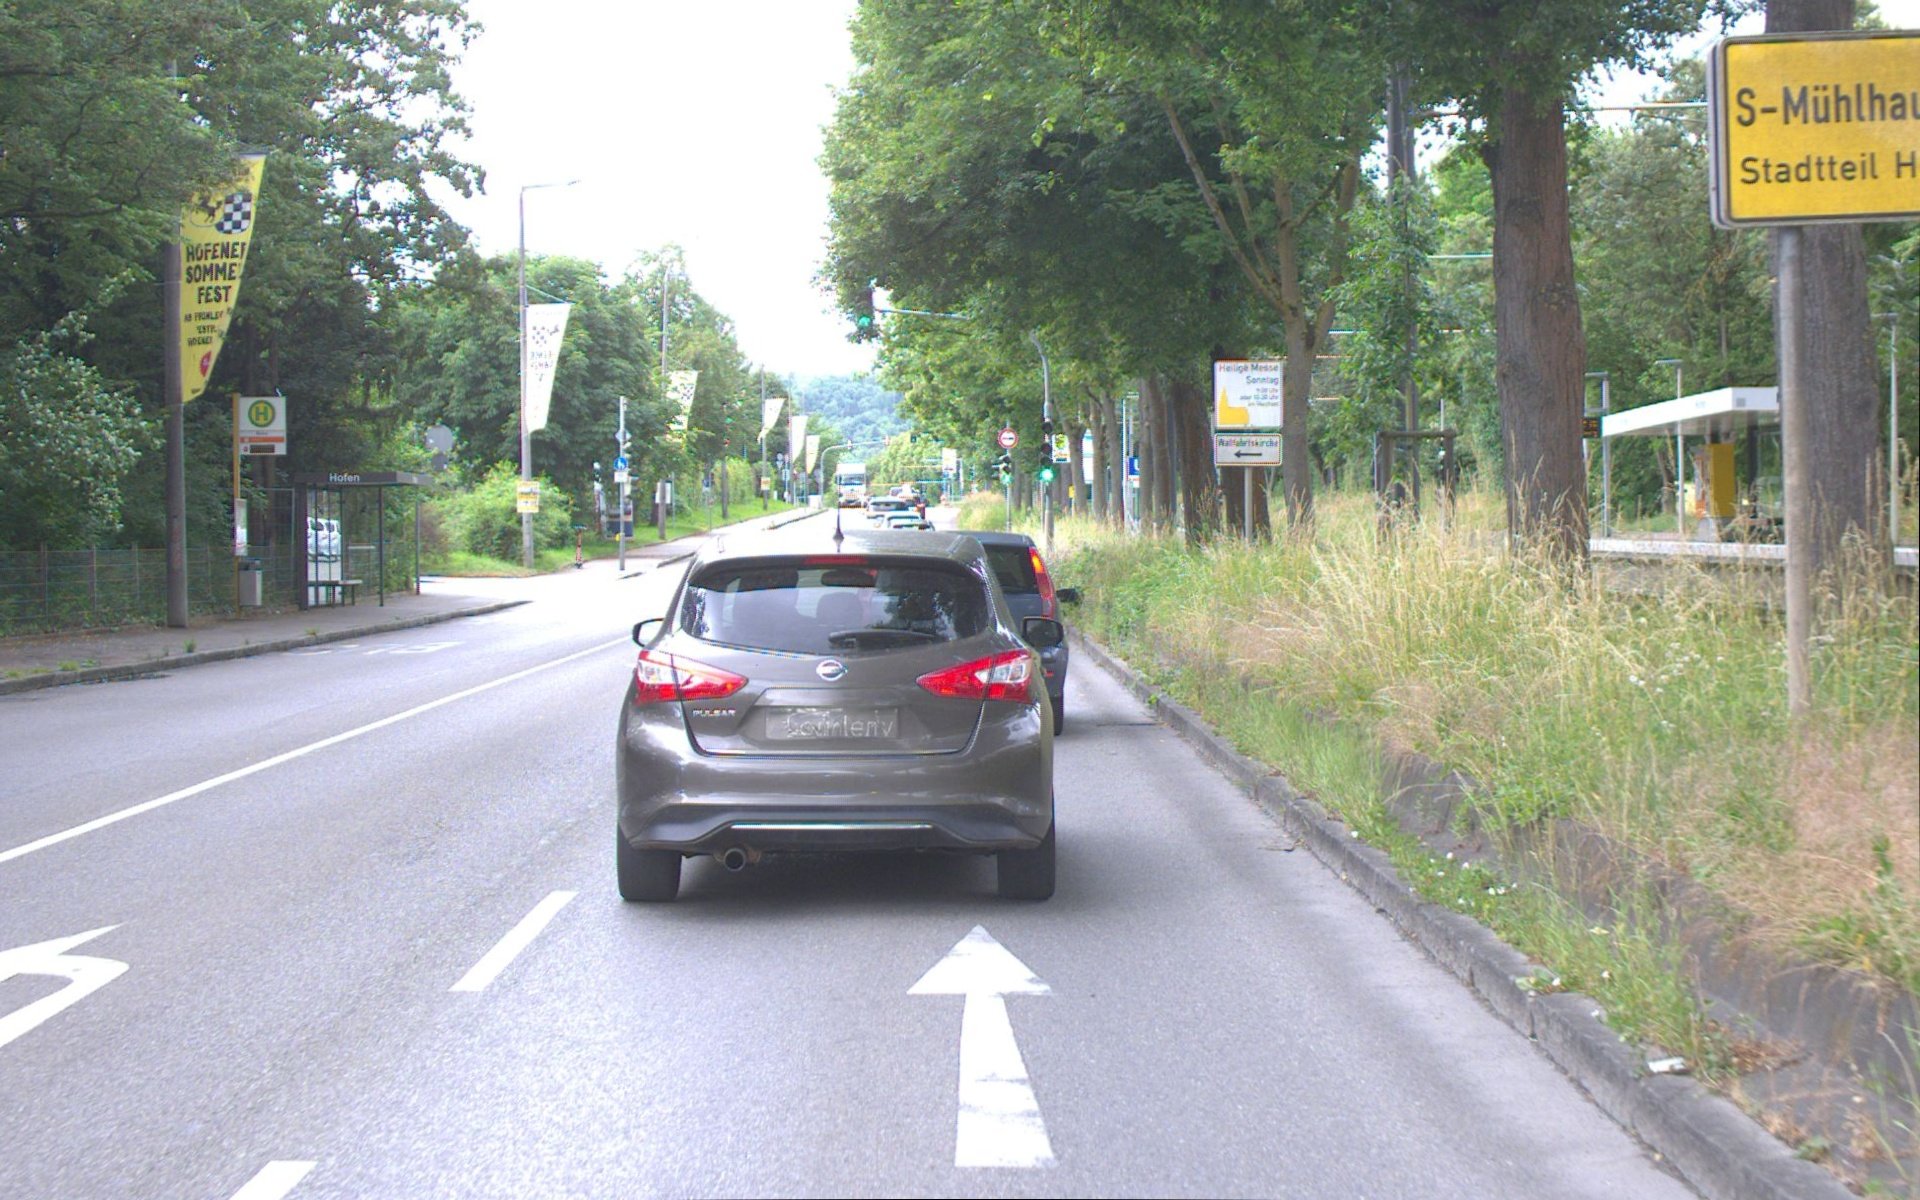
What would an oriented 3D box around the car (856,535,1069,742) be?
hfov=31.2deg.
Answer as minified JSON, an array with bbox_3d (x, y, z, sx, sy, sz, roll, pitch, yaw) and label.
[{"bbox_3d":[-0.004,0.240,26.015,1.502,1.436,3.542,0,1,-1],"label":"car"}]

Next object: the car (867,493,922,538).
[{"bbox_3d":[-2.439,-3.163,128.977,1.993,1.568,4.000,1,1,-1],"label":"car"}]

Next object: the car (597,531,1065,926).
[{"bbox_3d":[-0.496,0.457,14.997,1.783,1.501,3.696,0,1,0],"label":"car"}]

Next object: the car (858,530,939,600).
[{"bbox_3d":[-1.309,-0.770,73.557,1.691,1.436,3.542,0,1,-1],"label":"car"}]

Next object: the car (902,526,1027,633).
[{"bbox_3d":[0.039,-0.323,48.456,1.691,1.436,3.542,0,1,-1],"label":"car"}]
